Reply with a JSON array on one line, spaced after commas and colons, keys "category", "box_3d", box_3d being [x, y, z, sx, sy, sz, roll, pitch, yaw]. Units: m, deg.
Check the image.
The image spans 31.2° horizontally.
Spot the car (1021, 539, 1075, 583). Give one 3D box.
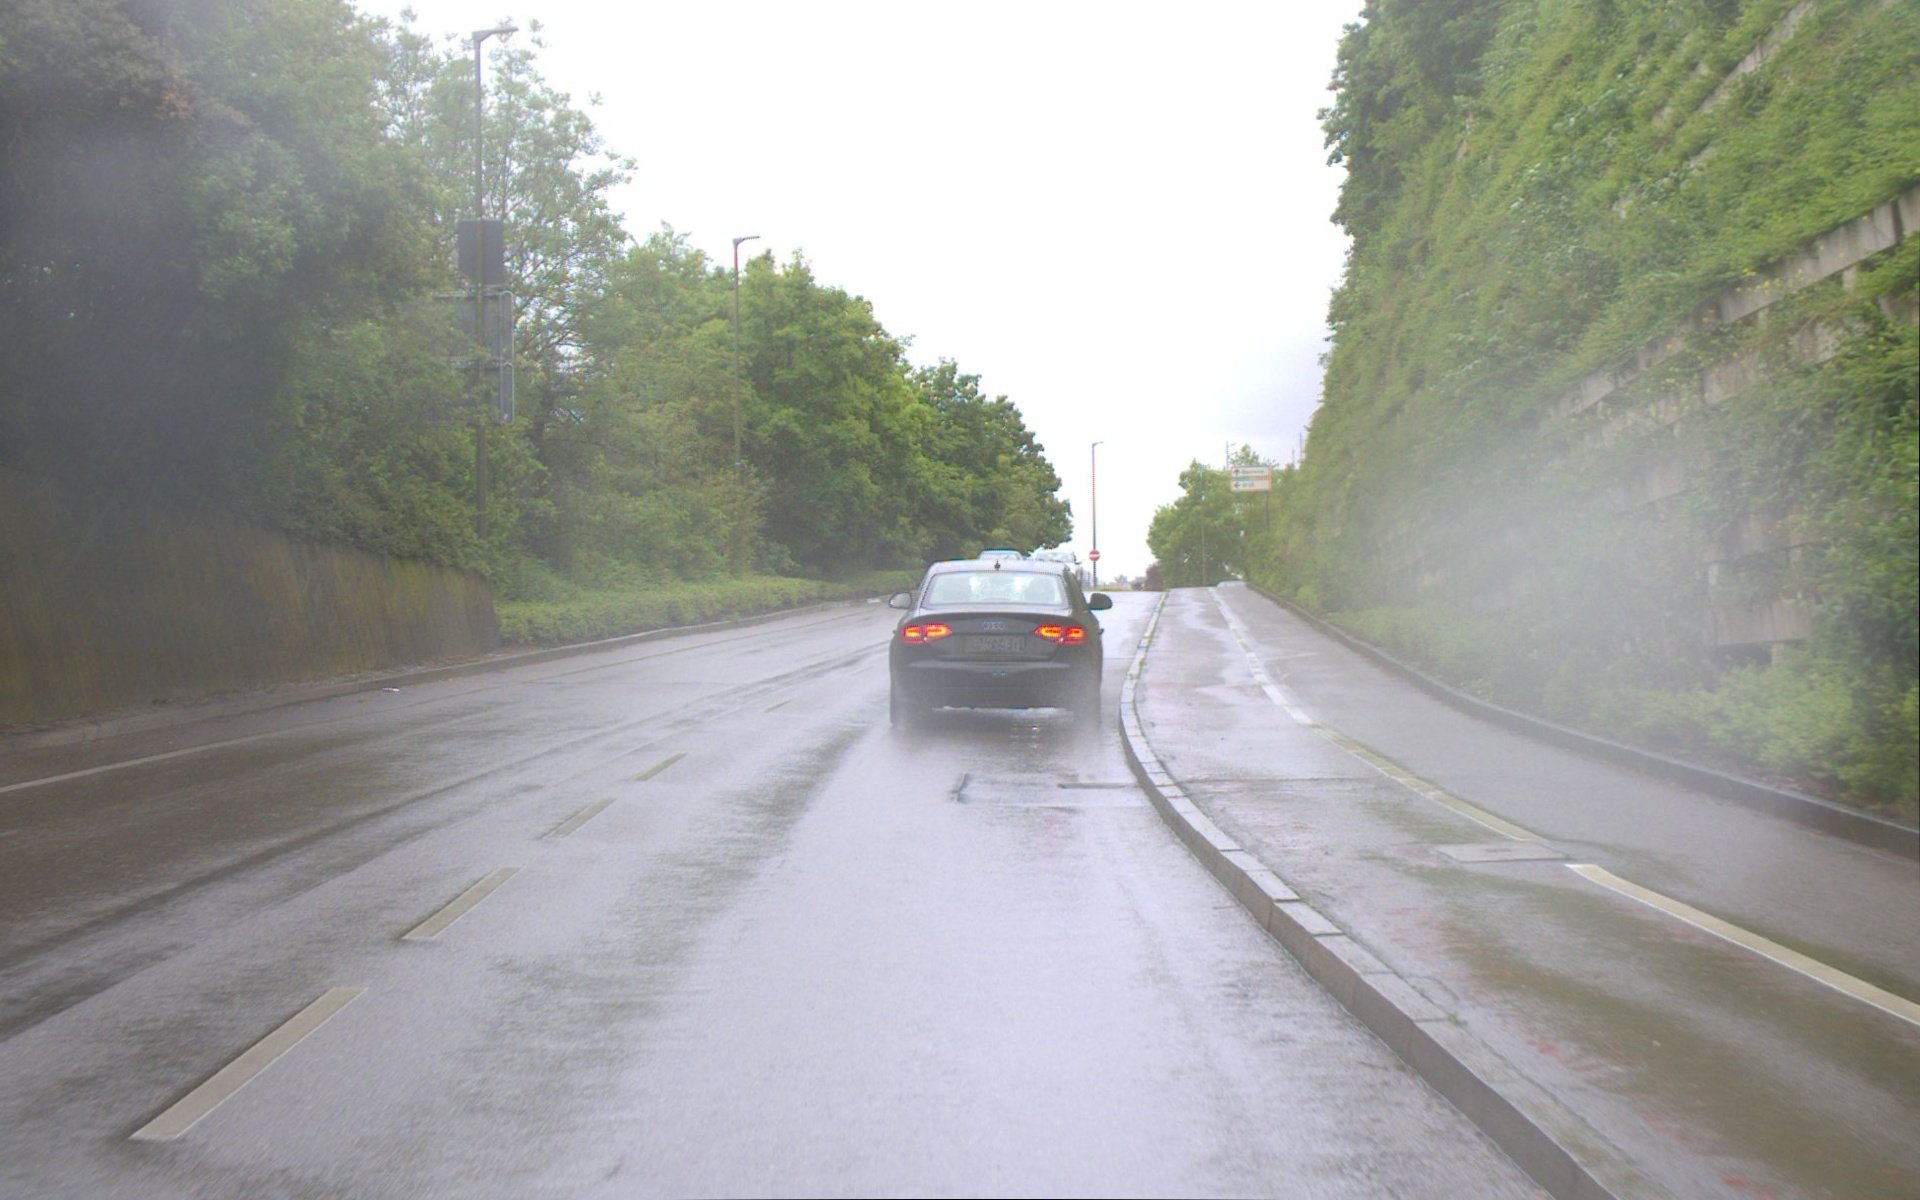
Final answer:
[{"category": "car", "box_3d": [3.414, -1.528, 133.019, 1.823, 1.609, 4.093, -1, 1, 4]}]

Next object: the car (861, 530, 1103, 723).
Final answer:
[{"category": "car", "box_3d": [0.202, 0.207, 29.751, 1.893, 1.487, 4.207, -2, 0, 1]}]

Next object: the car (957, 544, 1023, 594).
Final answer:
[{"category": "car", "box_3d": [0.945, -0.947, 104.805, 1.865, 1.444, 4.377, -2, 1, 2]}]
